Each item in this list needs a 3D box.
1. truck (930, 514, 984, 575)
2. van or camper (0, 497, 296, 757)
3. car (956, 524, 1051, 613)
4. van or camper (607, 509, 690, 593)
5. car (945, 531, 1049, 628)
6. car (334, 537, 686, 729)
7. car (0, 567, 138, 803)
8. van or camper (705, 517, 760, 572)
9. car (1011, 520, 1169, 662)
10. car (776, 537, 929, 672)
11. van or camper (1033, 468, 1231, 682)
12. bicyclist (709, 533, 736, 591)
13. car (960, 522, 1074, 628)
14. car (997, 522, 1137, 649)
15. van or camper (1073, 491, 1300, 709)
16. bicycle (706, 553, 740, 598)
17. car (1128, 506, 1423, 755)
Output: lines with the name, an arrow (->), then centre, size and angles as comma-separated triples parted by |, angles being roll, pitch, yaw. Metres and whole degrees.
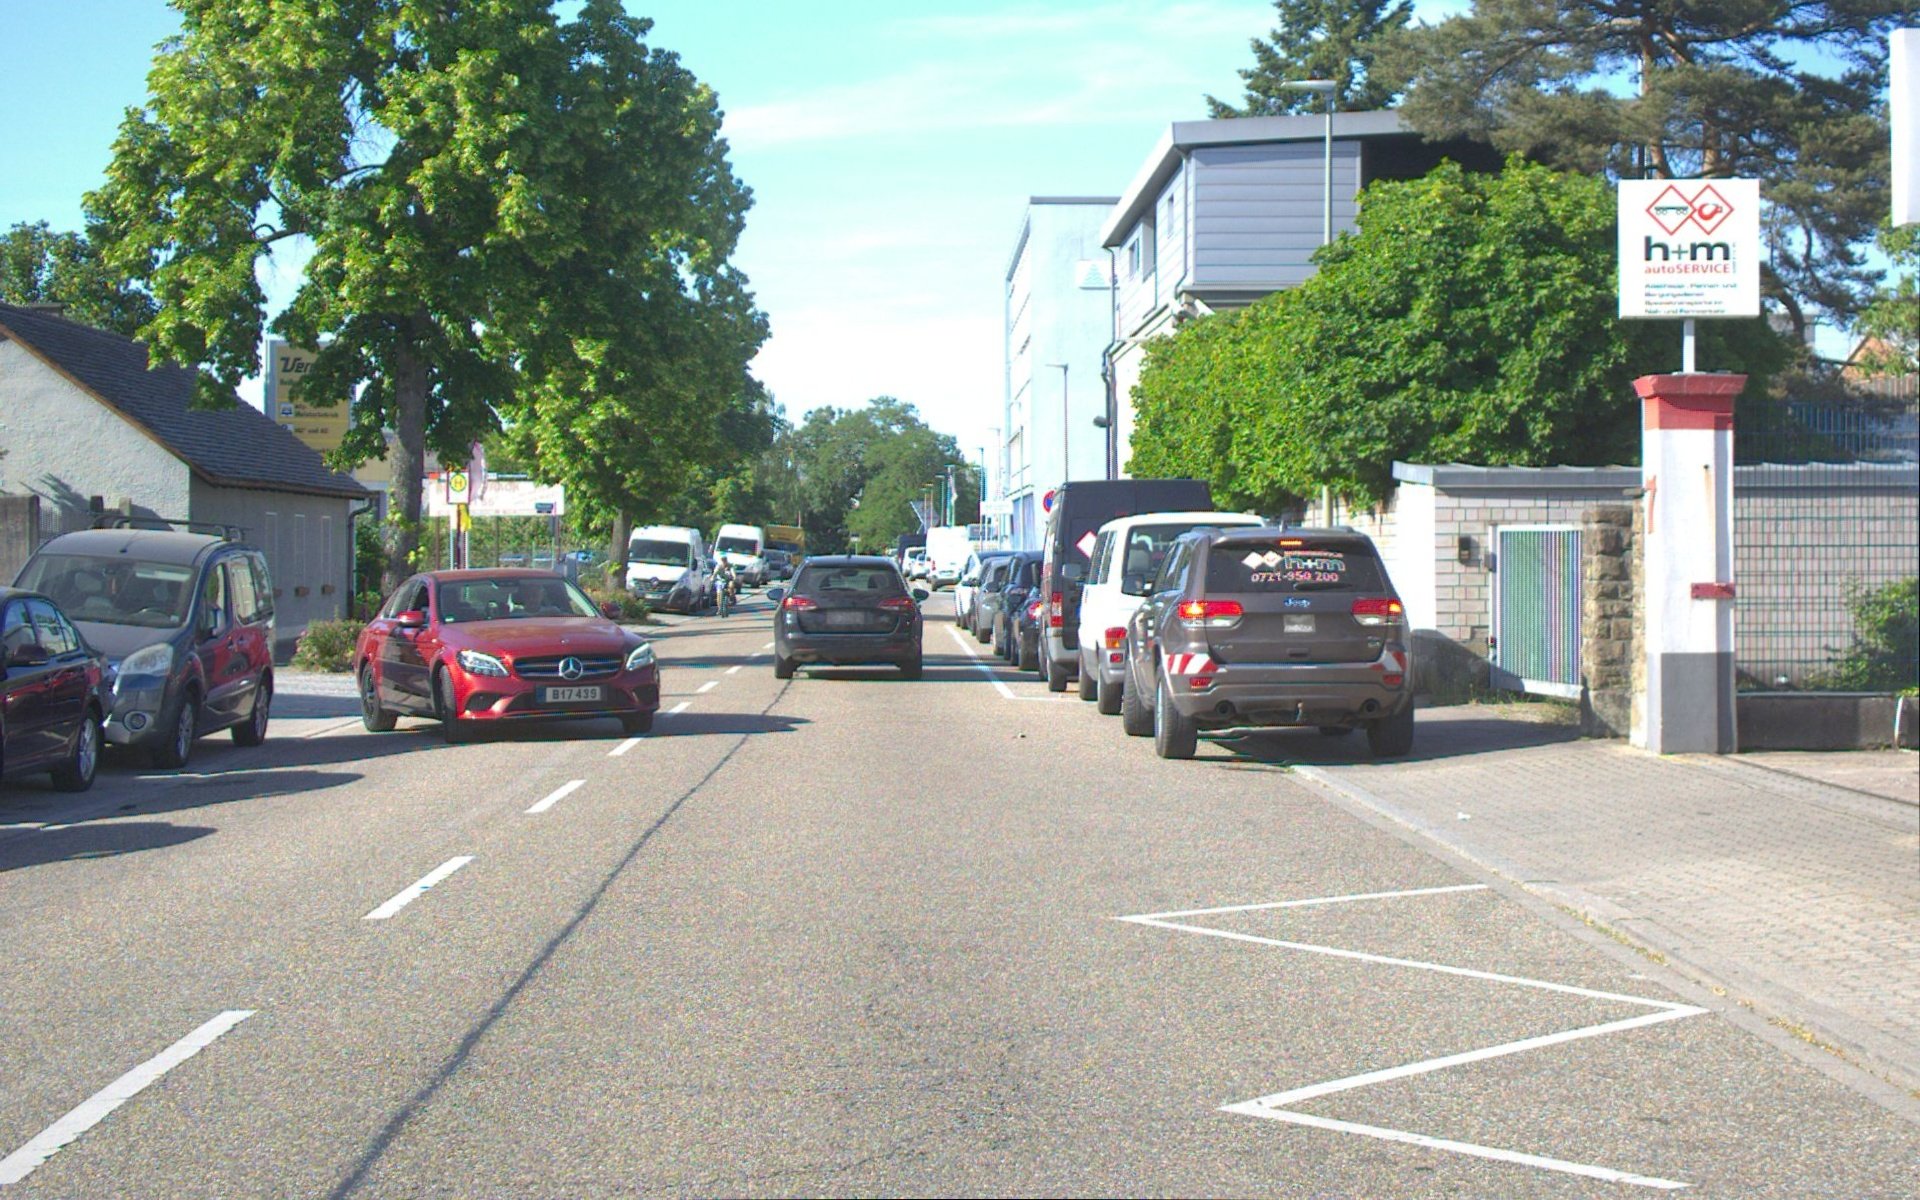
truck -> -0.140, -2.156, 132.887 | 1.993, 2.280, 6.956 | 0, 1, -1
van or camper -> -6.775, 0.185, 27.910 | 1.891, 1.919, 4.266 | -1, 1, 0
car -> 0.891, -0.689, 72.635 | 1.919, 1.819, 4.080 | 0, 1, -1
van or camper -> -9.063, -1.450, 100.240 | 2.323, 2.354, 6.530 | 0, 1, -5
car -> 0.683, -0.422, 66.141 | 1.919, 1.819, 4.080 | 0, 1, -1
car -> -3.979, 0.222, 29.847 | 1.875, 1.480, 4.045 | -2, 2, -25
car -> -6.931, 0.535, 23.163 | 1.694, 1.464, 4.173 | 0, 1, 1
van or camper -> -9.937, -2.432, 149.780 | 2.323, 2.354, 6.530 | 0, 1, -5
car -> 1.694, -0.152, 46.002 | 1.919, 1.819, 4.080 | 0, 1, -1
car -> -1.260, 0.017, 41.746 | 1.711, 1.527, 3.688 | -1, 1, 0
van or camper -> 1.890, -0.310, 38.907 | 1.993, 2.302, 4.000 | 0, 1, -1
bicyclist -> -6.303, -1.017, 91.371 | 0.695, 1.534, 0.635 | 0, 1, -3
car -> 0.989, -0.474, 61.476 | 1.919, 1.819, 4.080 | 0, 1, -1
car -> 1.556, -0.242, 51.313 | 1.919, 1.819, 4.080 | 0, 1, -1
van or camper -> 2.156, -0.038, 33.754 | 1.919, 2.012, 4.080 | 0, 1, -1
bicycle -> -6.285, -0.654, 91.262 | 0.829, 1.149, 2.941 | 0, 1, -2
car -> 2.411, 0.182, 27.235 | 1.919, 1.819, 4.080 | 0, 1, -1
